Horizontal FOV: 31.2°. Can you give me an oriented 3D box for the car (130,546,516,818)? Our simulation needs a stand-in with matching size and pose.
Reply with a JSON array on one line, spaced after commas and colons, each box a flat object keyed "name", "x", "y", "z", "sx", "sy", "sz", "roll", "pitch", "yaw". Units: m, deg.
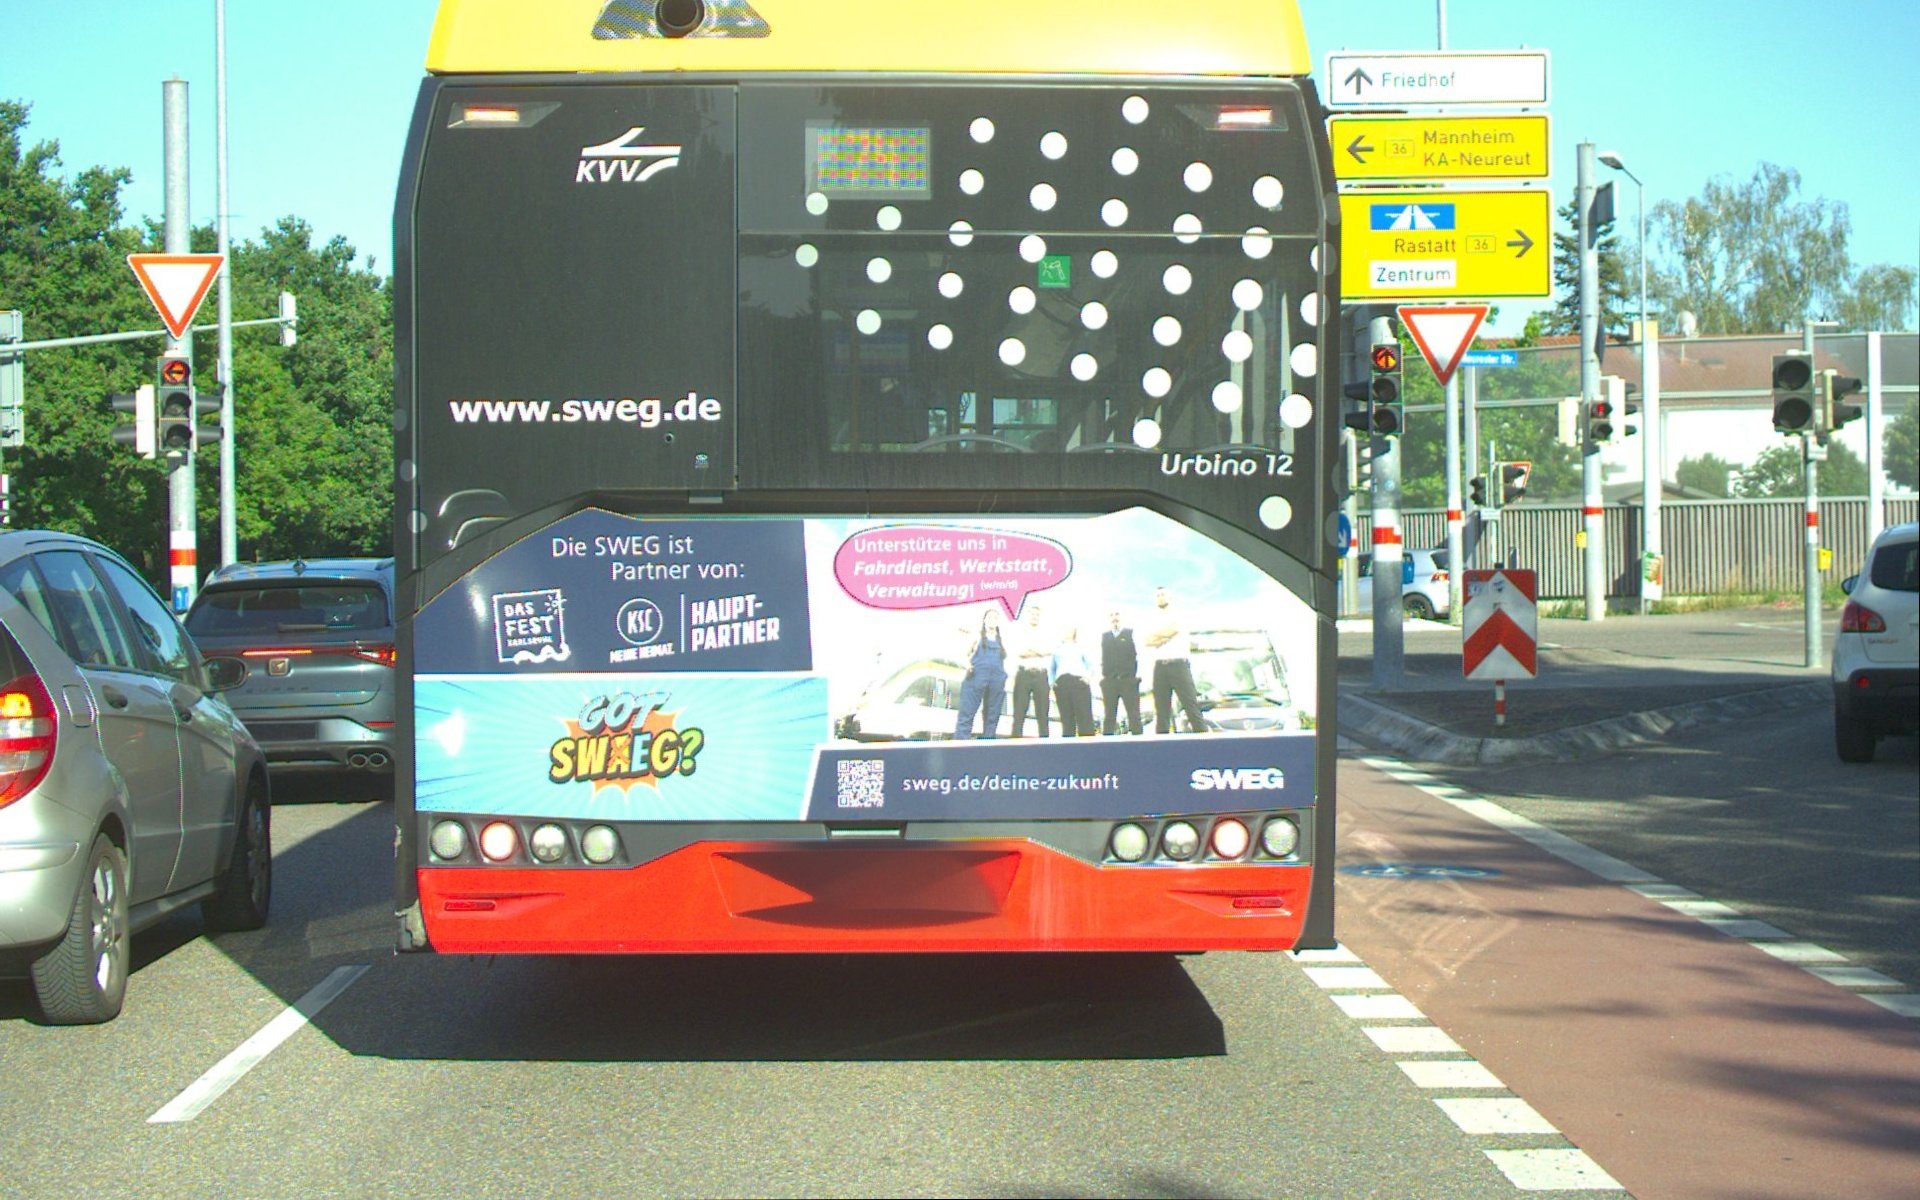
[{"name": "car", "x": -3.809, "y": 0.429, "z": 21.129, "sx": 1.692, "sy": 1.453, "sz": 3.751, "roll": -2, "pitch": 1, "yaw": -1}]

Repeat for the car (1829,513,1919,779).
[{"name": "car", "x": 7.078, "y": 0.237, "z": 23.388, "sx": 1.719, "sy": 1.602, "sz": 4.063, "roll": -1, "pitch": 2, "yaw": 22}]

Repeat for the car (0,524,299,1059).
[{"name": "car", "x": -3.602, "y": 0.560, "z": 12.197, "sx": 1.761, "sy": 1.584, "sz": 4.000, "roll": -2, "pitch": 1, "yaw": -1}]

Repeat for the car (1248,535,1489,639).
[{"name": "car", "x": 7.451, "y": -0.252, "z": 62.727, "sx": 3.991, "sy": 1.809, "sz": 1.921, "roll": 1, "pitch": 1, "yaw": 21}]

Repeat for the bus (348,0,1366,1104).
[{"name": "bus", "x": -0.289, "y": -0.403, "z": 14.896, "sx": 2.642, "sy": 3.156, "sz": 11.861, "roll": 0, "pitch": 1, "yaw": 0}]
